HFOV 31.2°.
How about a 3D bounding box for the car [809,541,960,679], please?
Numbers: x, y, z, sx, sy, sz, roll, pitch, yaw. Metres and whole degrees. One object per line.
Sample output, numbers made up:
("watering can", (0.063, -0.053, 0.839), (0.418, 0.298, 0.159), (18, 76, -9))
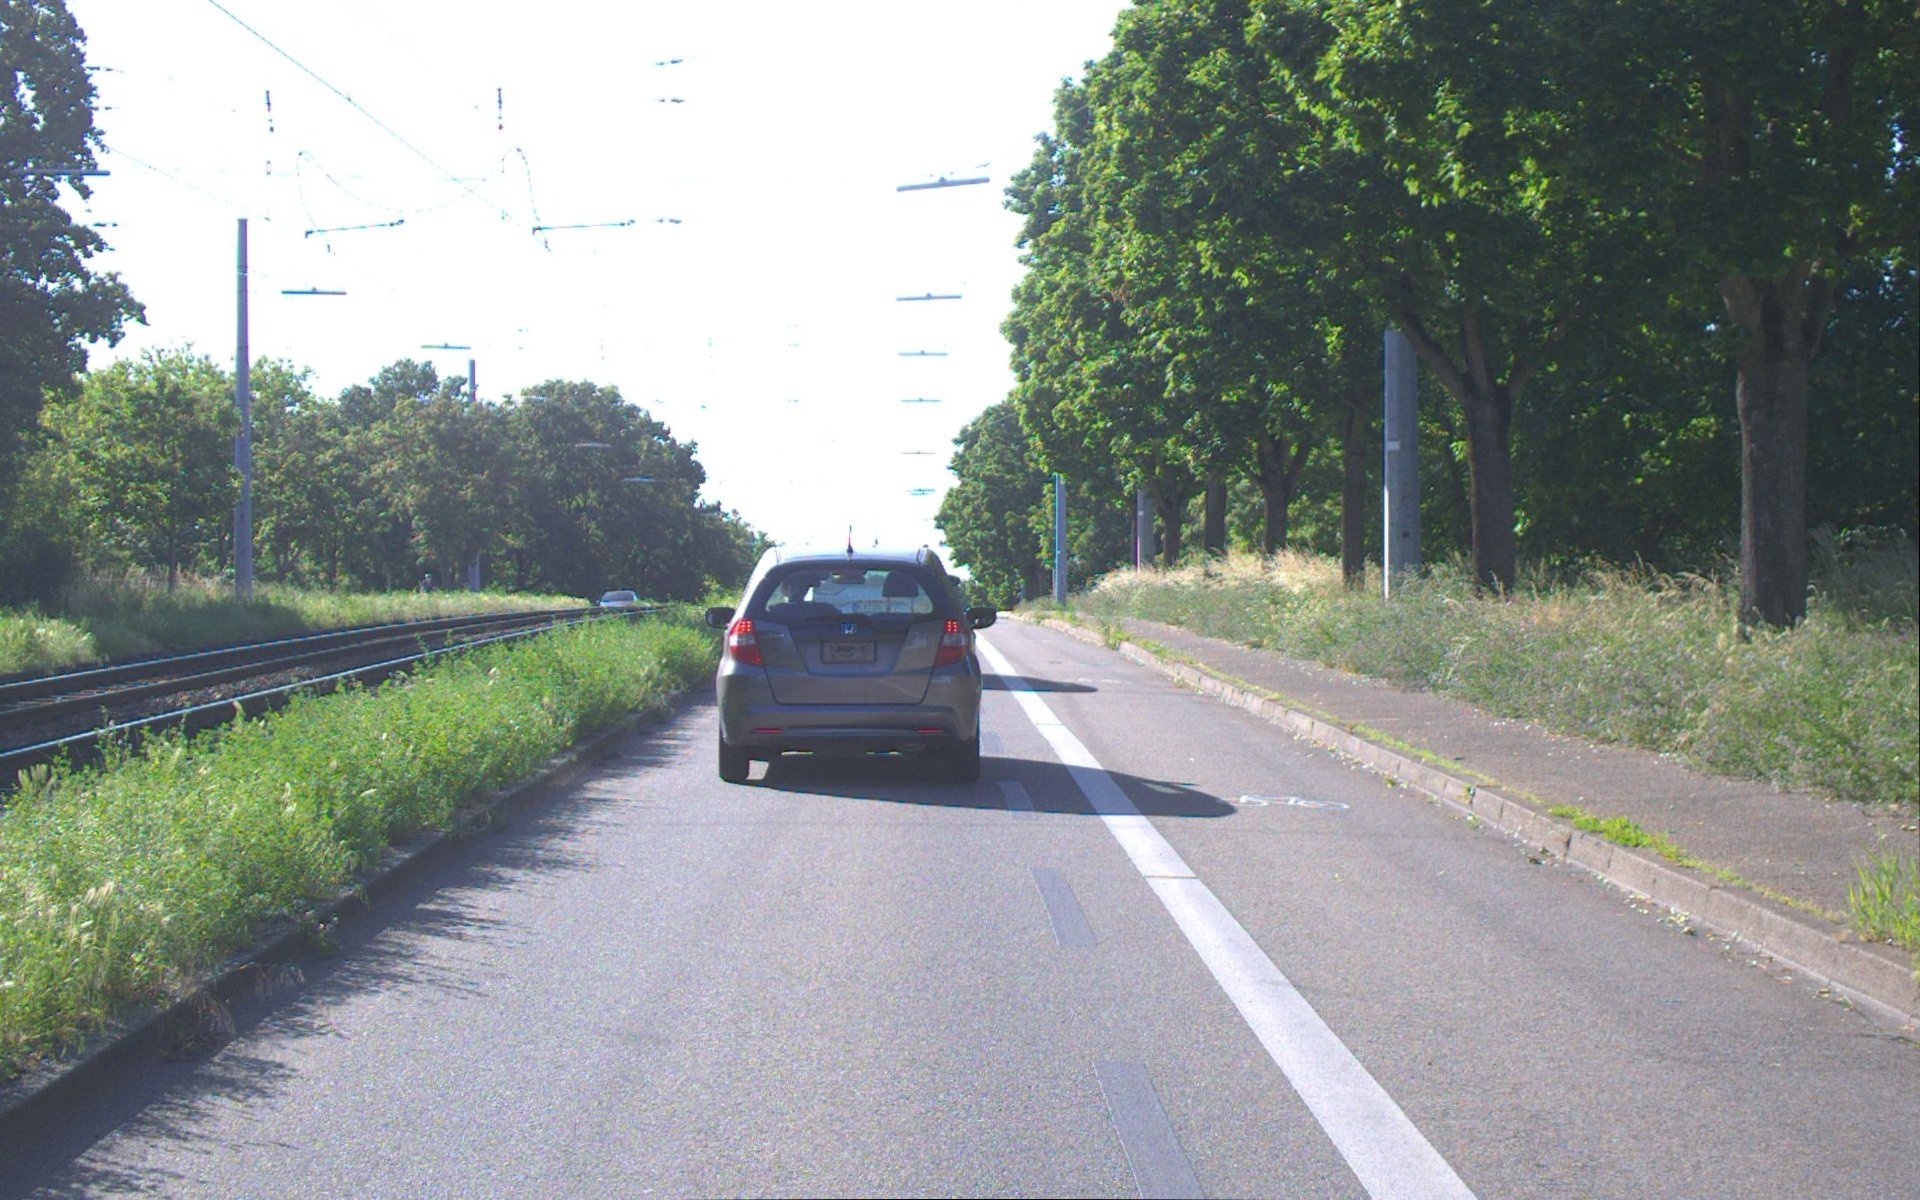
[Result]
("car", (-0.848, 0.082, 40.282), (1.654, 1.502, 3.811), (1, 1, 0))

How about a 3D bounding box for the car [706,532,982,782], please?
("car", (-0.766, 0.323, 23.076), (1.670, 1.502, 3.811), (1, 1, -2))
